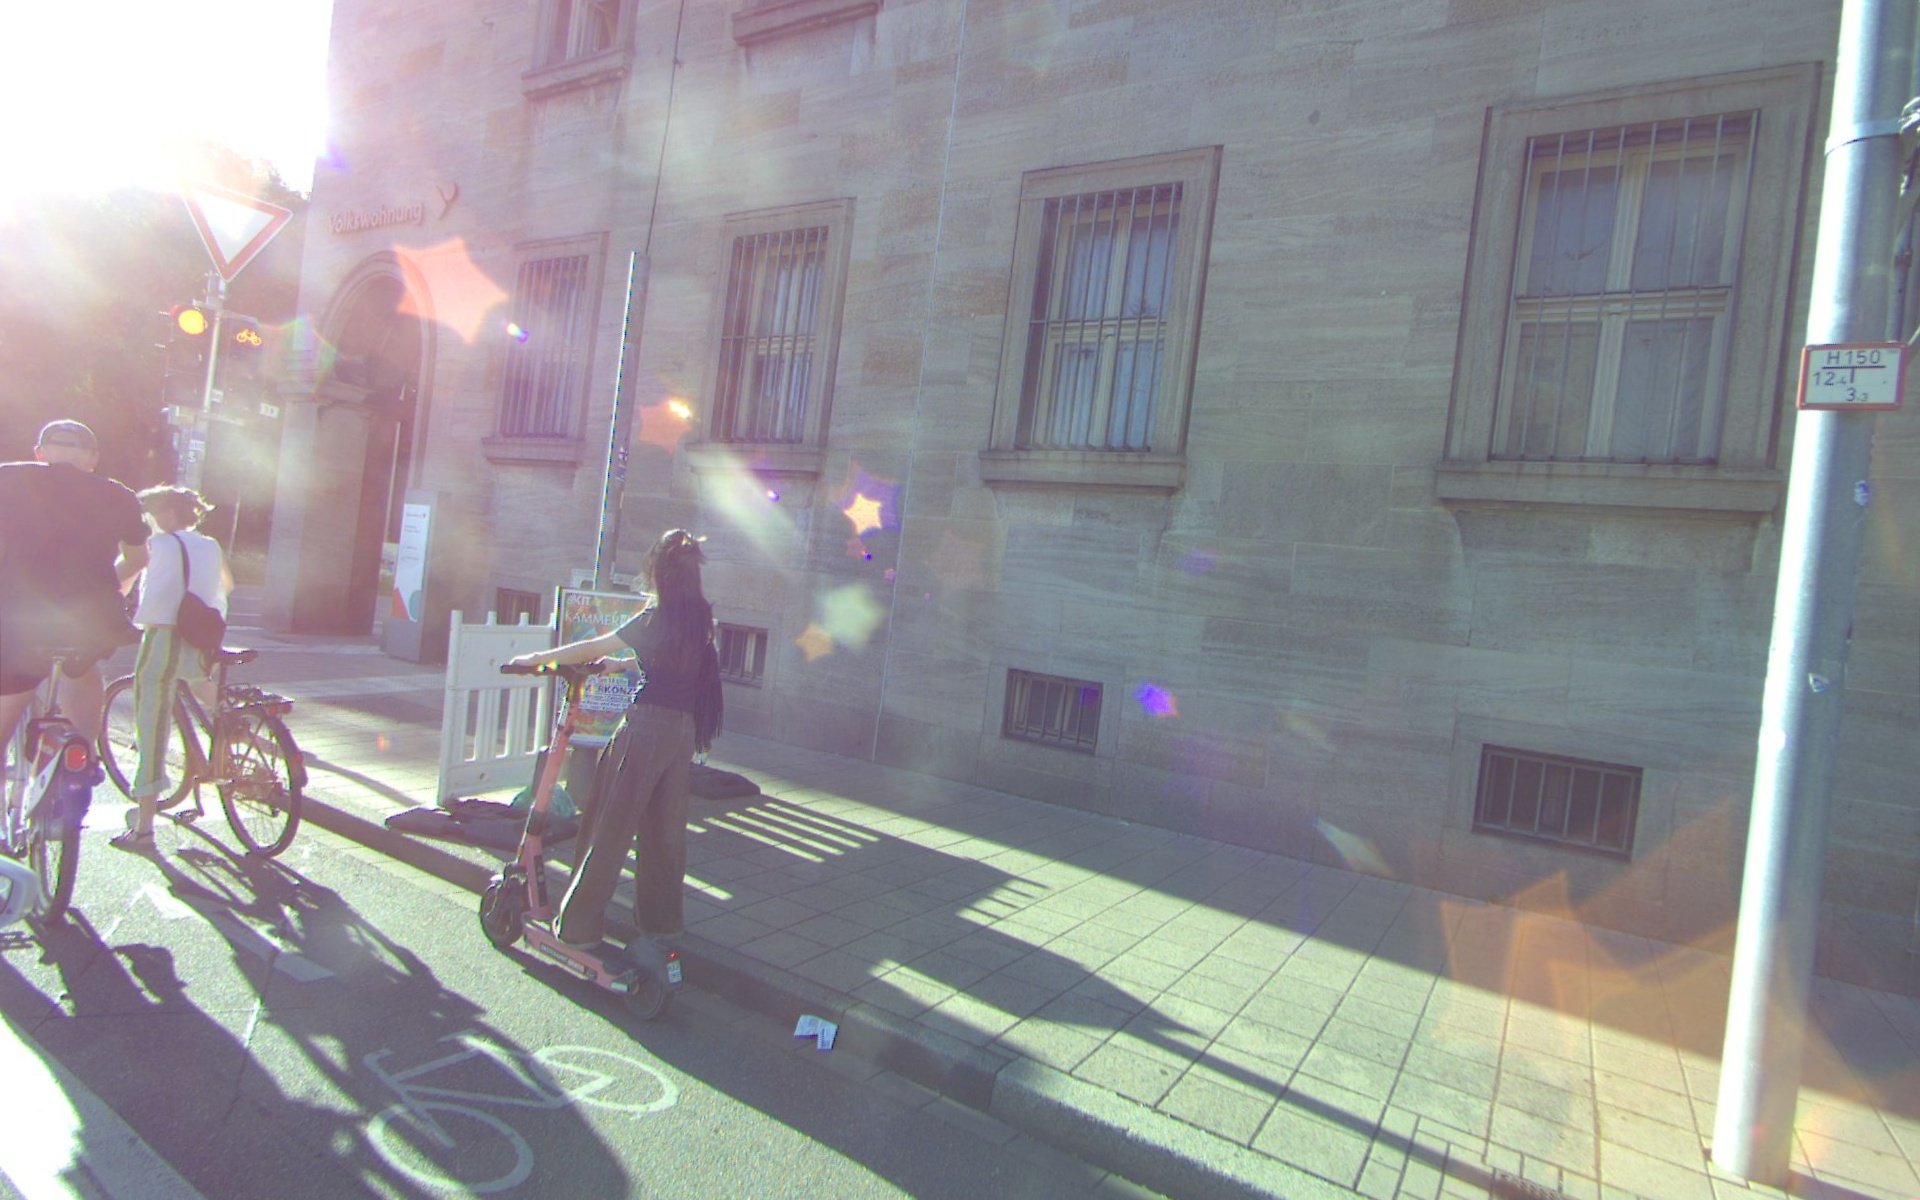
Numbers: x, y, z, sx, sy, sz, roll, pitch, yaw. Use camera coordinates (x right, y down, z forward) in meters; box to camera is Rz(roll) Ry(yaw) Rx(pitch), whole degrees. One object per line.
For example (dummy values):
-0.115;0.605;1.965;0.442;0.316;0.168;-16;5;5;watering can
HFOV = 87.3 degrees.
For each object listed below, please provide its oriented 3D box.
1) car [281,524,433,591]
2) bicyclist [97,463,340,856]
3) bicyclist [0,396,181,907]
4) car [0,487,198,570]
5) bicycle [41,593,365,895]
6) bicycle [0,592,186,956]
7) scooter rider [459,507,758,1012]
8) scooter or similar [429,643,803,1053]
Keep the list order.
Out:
-19.693;-1.350;33.024;1.623;1.630;3.854;7;-1;31;car
-3.533;0.264;4.807;0.629;1.711;0.558;7;-1;30;bicyclist
-3.546;0.191;3.857;0.541;1.820;0.559;7;-1;33;bicyclist
-23.371;-1.894;27.197;1.622;1.630;3.999;7;-1;31;car
-3.679;0.620;4.845;1.721;1.090;0.535;7;-1;31;bicycle
-3.735;0.572;3.927;1.700;1.090;0.516;7;-1;34;bicycle
-1.325;0.556;3.856;0.547;1.691;0.730;7;0;31;scooter rider
-1.350;0.854;3.883;1.305;1.199;0.535;7;0;31;scooter or similar
